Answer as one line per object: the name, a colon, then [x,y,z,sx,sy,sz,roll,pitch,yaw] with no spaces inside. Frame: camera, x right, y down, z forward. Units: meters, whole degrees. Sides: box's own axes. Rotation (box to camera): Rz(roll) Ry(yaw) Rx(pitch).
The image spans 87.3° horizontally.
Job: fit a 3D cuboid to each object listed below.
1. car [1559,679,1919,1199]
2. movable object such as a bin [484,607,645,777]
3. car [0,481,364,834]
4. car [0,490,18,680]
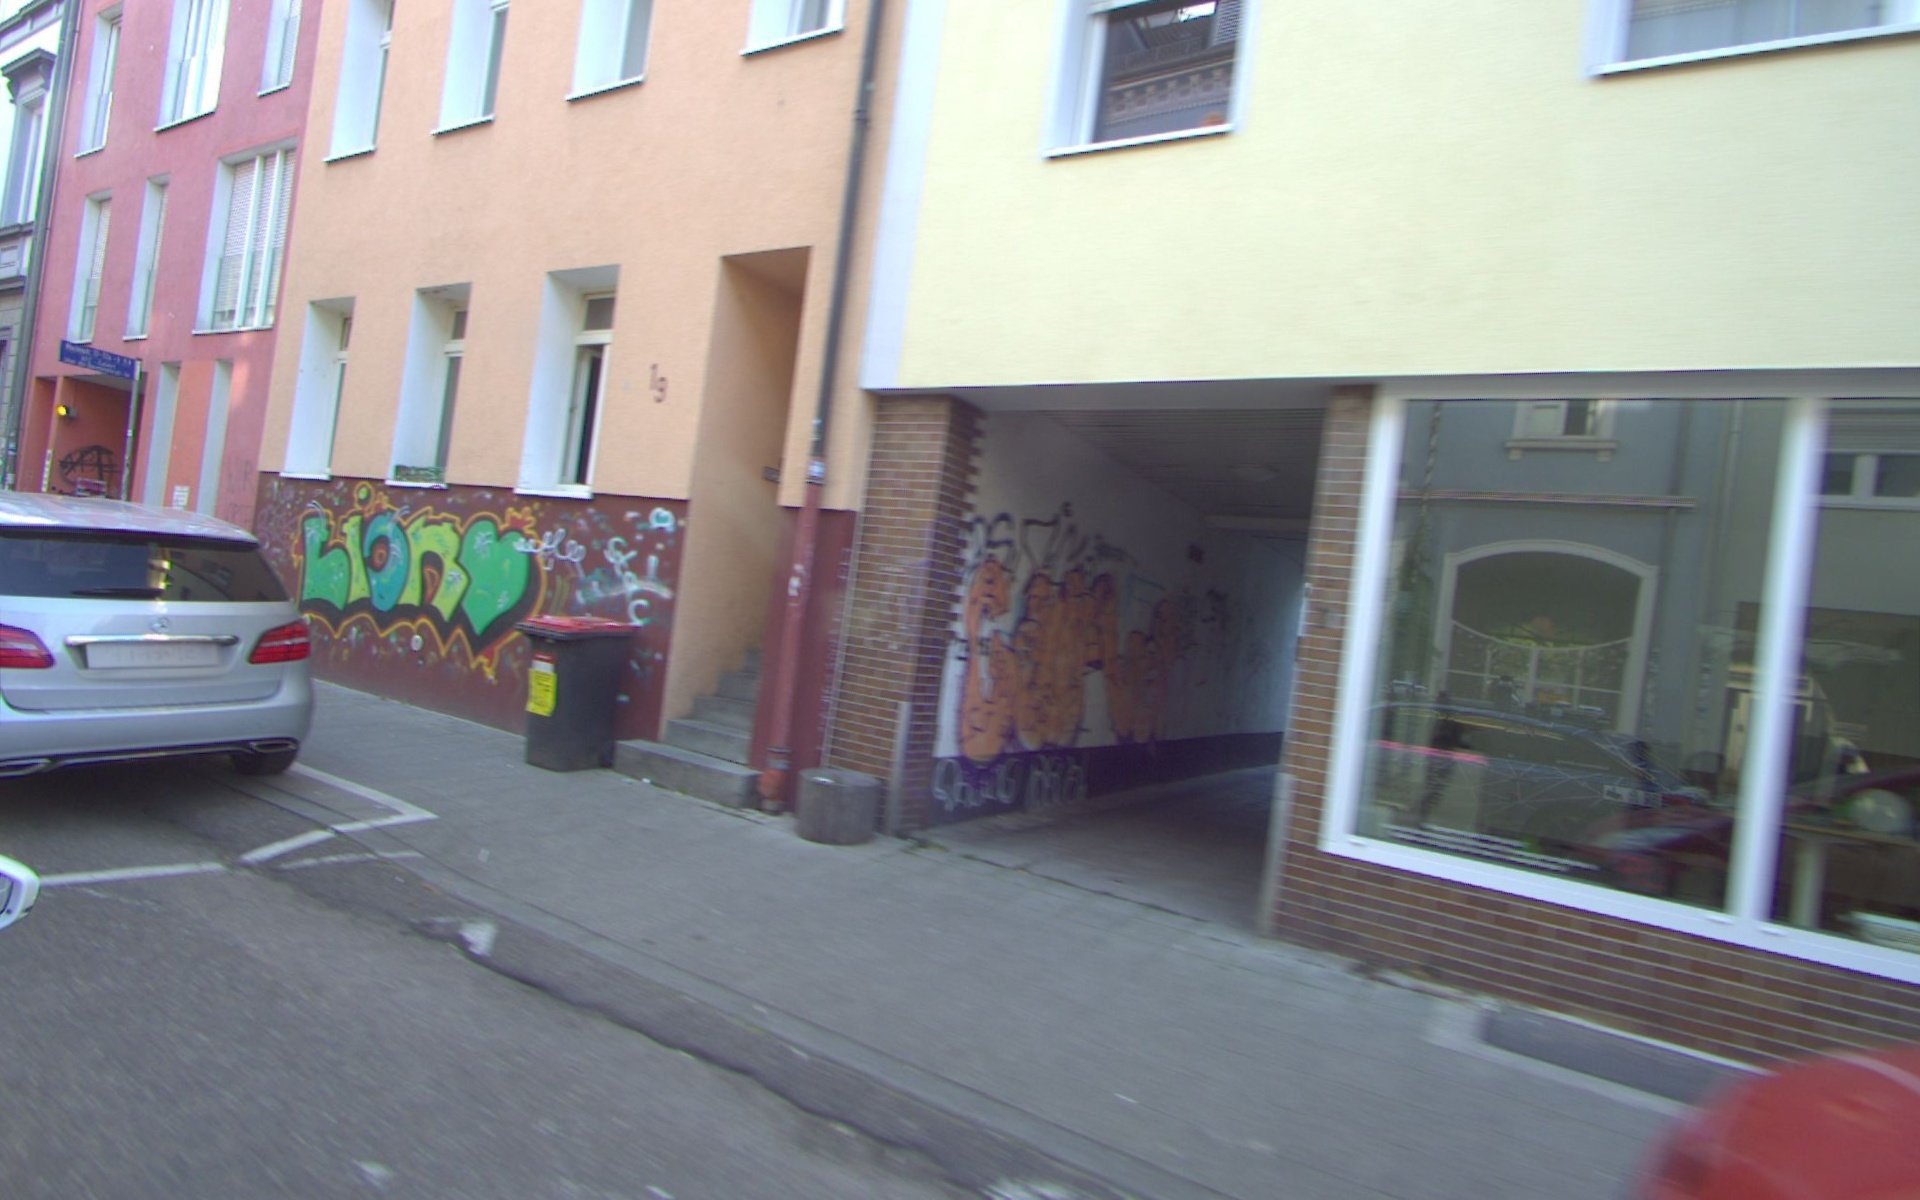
car: [2.800,1.110,0.804,3.915,1.542,1.699,7,0,33]
movable object such as a bin: [-2.822,0.633,7.195,0.724,1.071,0.693,7,2,32]
car: [-5.671,0.120,6.103,4.103,1.574,1.749,7,-1,33]
car: [-9.695,-0.319,8.562,3.394,1.559,1.603,7,1,33]
